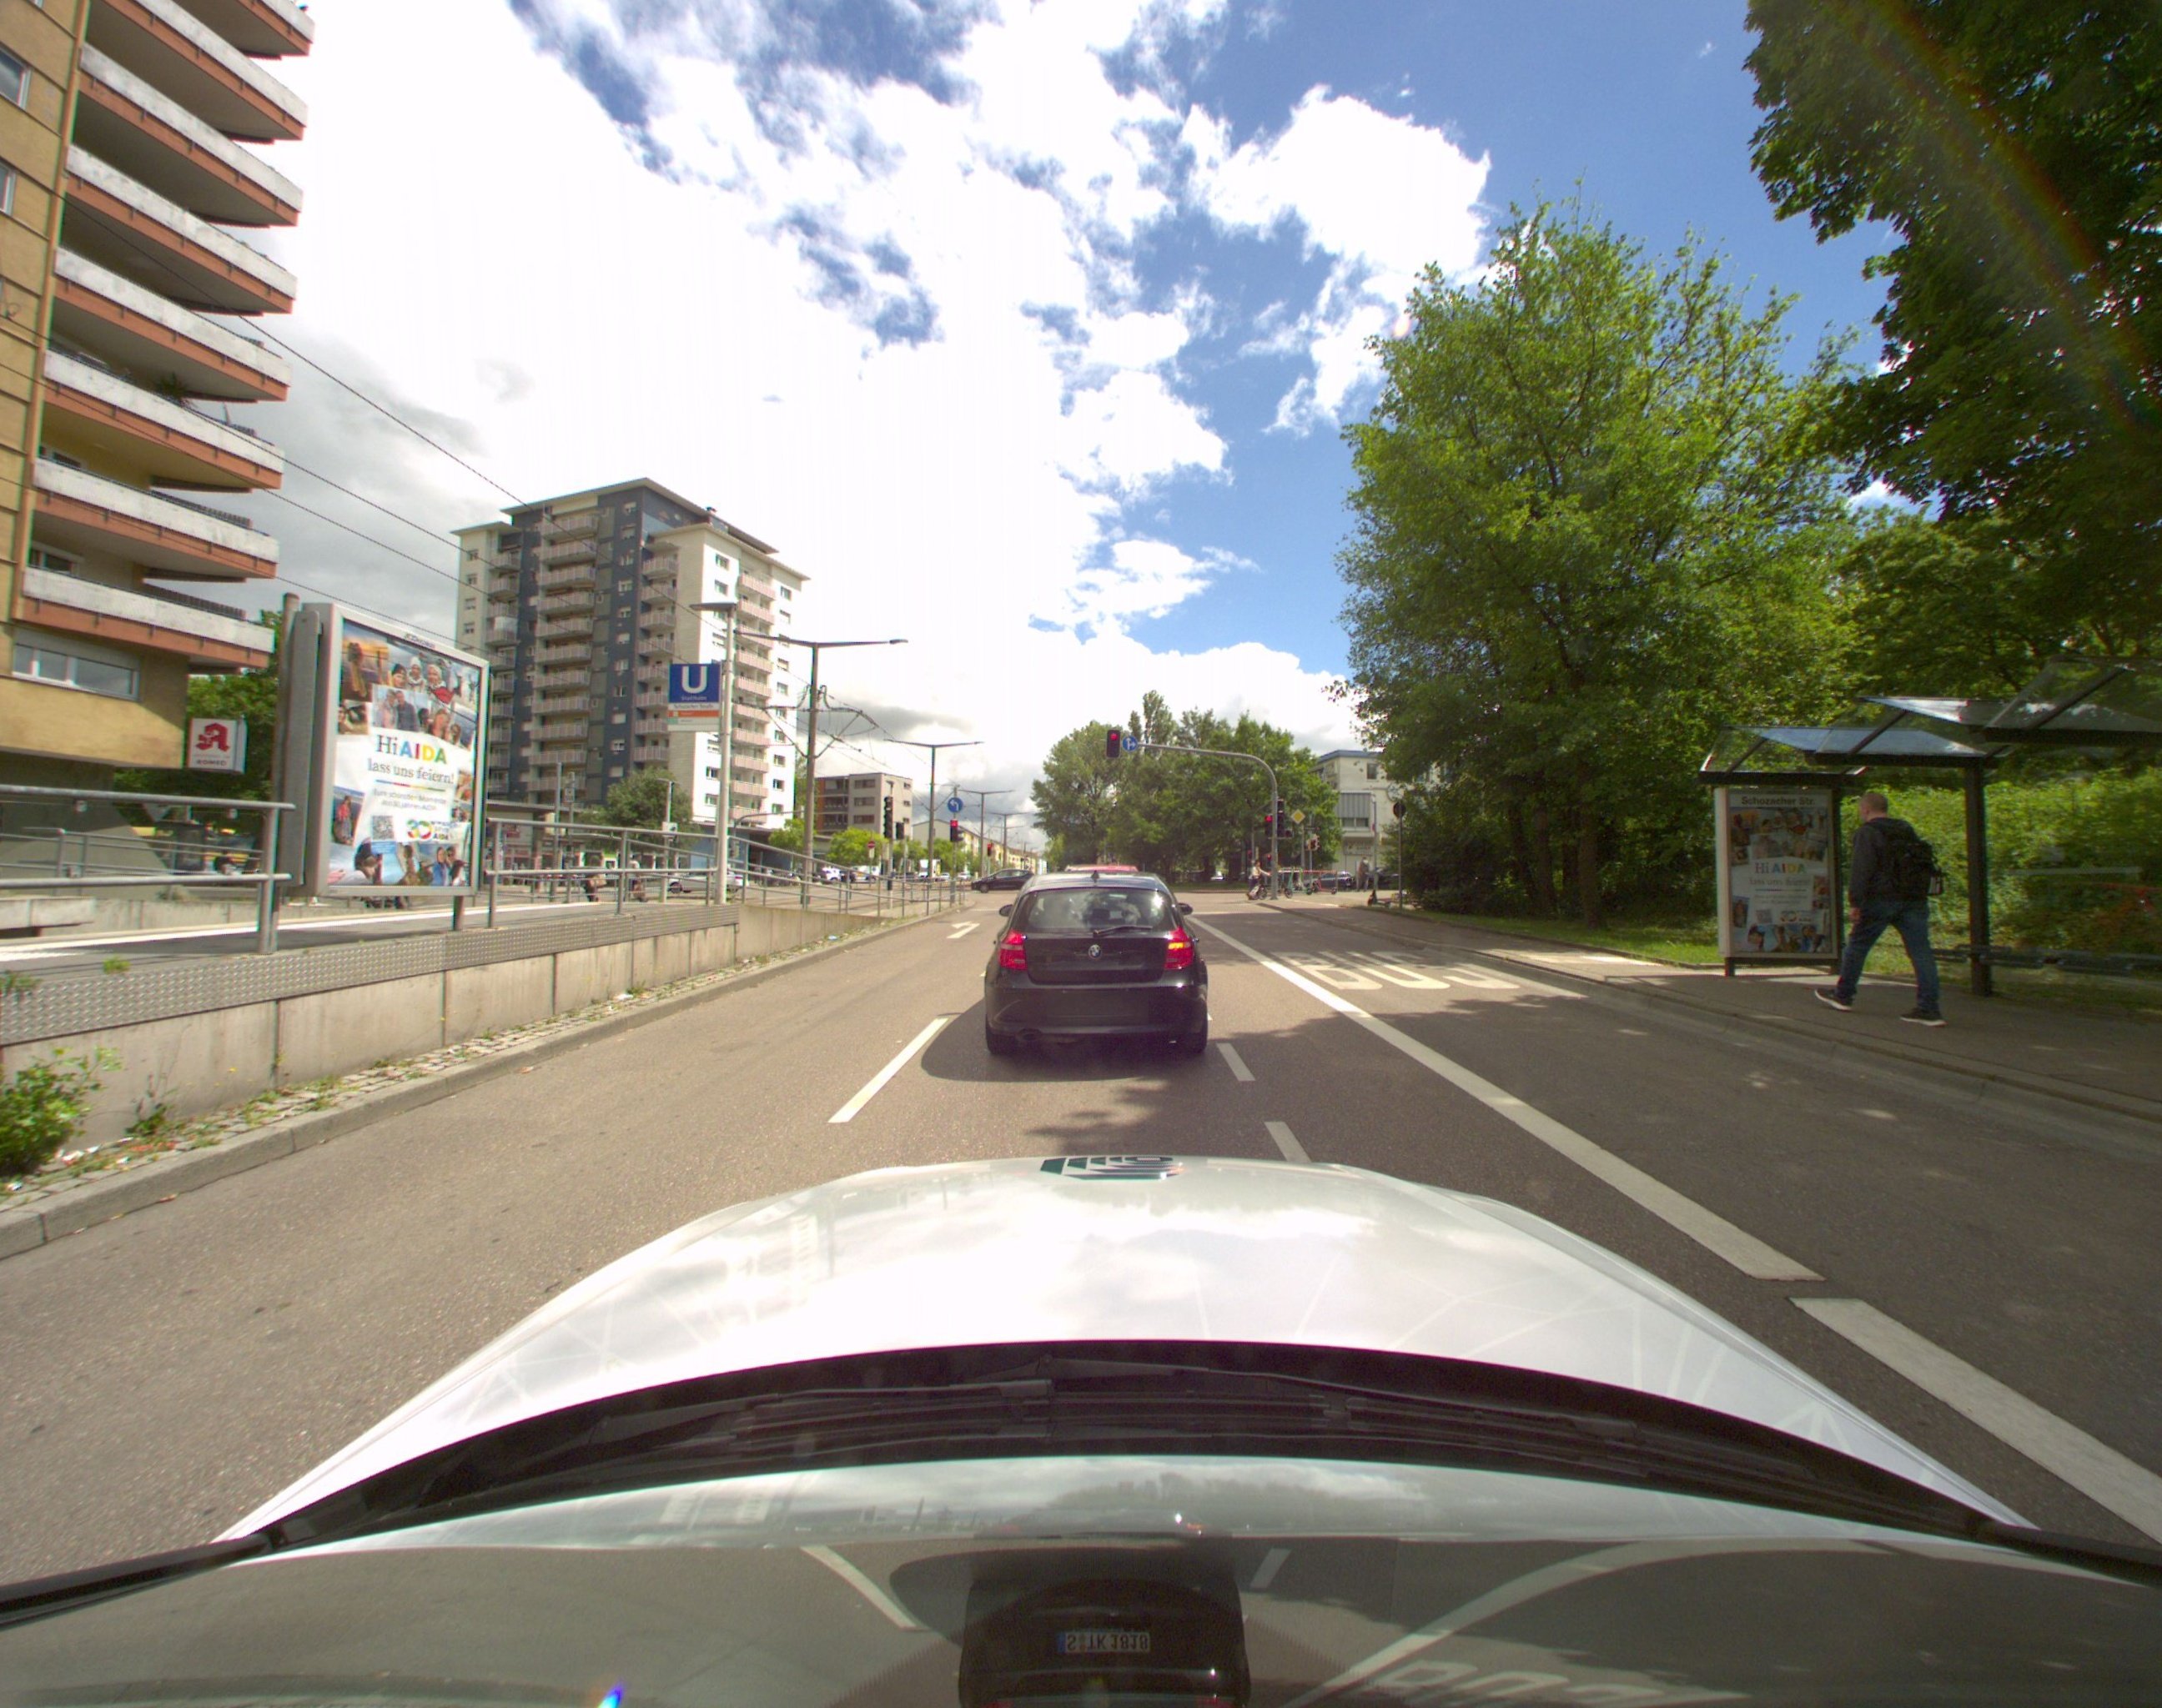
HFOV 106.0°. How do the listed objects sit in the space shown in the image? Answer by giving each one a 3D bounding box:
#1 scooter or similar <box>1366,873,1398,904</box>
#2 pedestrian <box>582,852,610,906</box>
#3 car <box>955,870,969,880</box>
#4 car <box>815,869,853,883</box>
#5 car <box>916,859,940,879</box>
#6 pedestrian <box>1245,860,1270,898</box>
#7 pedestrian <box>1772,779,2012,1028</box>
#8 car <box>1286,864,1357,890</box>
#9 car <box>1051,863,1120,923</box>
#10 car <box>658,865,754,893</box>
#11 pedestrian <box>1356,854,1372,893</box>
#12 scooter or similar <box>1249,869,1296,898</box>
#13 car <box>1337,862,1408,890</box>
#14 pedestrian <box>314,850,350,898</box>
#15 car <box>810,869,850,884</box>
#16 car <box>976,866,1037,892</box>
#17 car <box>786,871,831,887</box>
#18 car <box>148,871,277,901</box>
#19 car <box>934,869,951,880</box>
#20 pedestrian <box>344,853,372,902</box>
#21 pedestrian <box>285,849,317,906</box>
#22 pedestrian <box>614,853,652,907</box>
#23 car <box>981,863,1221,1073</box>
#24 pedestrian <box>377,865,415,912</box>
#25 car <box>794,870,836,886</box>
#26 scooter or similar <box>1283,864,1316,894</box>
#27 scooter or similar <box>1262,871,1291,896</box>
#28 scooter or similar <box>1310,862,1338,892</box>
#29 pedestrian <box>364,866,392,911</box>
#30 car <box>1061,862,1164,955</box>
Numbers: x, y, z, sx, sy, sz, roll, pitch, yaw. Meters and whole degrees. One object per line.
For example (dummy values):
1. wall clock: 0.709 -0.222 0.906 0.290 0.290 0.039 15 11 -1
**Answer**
1. scooter or similar: 10.748 1.222 29.107 1.153 1.099 0.329 0 -1 -22
2. pedestrian: -14.766 0.754 24.813 0.705 1.633 0.631 -1 -1 -32
3. car: -21.242 3.772 145.703 1.961 1.596 3.997 0 -1 -2
4. car: -26.178 2.324 86.366 3.600 1.462 1.612 -1 -1 -7
5. car: -20.865 2.066 111.281 2.132 2.640 5.358 0 -1 0
6. pedestrian: 6.745 0.956 31.074 0.859 1.442 0.801 -1 -1 14
7. pedestrian: 6.754 0.383 6.879 0.798 1.895 1.271 1 -1 3
8. car: 15.119 1.421 51.216 3.983 1.526 1.671 0 -1 -7
9. car: 0.122 0.954 21.439 1.649 1.419 3.516 0 0 0
10. car: -21.842 1.433 47.551 4.630 1.480 1.997 -1 -1 -5
11. pedestrian: 13.306 0.928 38.243 0.608 1.790 0.571 3 -1 20
12. scooter or similar: 7.238 1.107 30.771 1.787 1.051 0.407 0 0 -21
13. car: 17.388 1.282 48.632 3.578 1.601 1.705 0 -1 -11
14. pedestrian: -24.859 0.655 27.046 0.602 1.583 0.779 -1 -1 37
15. car: -25.693 2.274 83.339 3.599 1.462 1.613 0 -1 -7
16. car: -4.477 1.497 49.004 3.600 1.462 1.612 -1 -1 -7
17. car: -25.067 2.298 75.017 3.600 1.462 1.612 -1 -1 -7
18. car: -47.684 1.721 44.800 4.571 1.526 1.939 -1 -1 -9
19. car: -21.280 3.136 125.036 1.960 1.596 3.999 0 -1 0
20. pedestrian: -23.740 0.762 26.756 0.626 1.578 0.850 0 -1 -39
21. pedestrian: -23.898 0.704 24.943 0.686 1.706 0.817 1 -1 -44
22. pedestrian: -14.565 0.837 26.481 0.682 1.697 0.863 0 -1 12
23. car: 0.246 0.807 7.368 1.647 1.419 3.520 -1 0 4
24. pedestrian: -20.385 1.006 24.250 0.691 1.343 0.852 0 -1 -29
25. car: -25.853 2.368 79.339 3.600 1.462 1.612 -1 -1 -7
26. scooter or similar: 9.009 1.031 33.549 1.290 1.189 0.383 -1 -1 -14
27. scooter or similar: 7.768 1.162 32.381 1.121 0.957 0.299 -1 -1 -14
28. scooter or similar: 10.265 0.978 34.381 1.107 1.258 0.331 -1 -1 -10
29. pedestrian: -21.334 1.025 24.715 0.660 1.343 0.558 -1 -1 44
30. car: 0.566 0.866 14.342 1.588 1.419 3.519 0 0 3
